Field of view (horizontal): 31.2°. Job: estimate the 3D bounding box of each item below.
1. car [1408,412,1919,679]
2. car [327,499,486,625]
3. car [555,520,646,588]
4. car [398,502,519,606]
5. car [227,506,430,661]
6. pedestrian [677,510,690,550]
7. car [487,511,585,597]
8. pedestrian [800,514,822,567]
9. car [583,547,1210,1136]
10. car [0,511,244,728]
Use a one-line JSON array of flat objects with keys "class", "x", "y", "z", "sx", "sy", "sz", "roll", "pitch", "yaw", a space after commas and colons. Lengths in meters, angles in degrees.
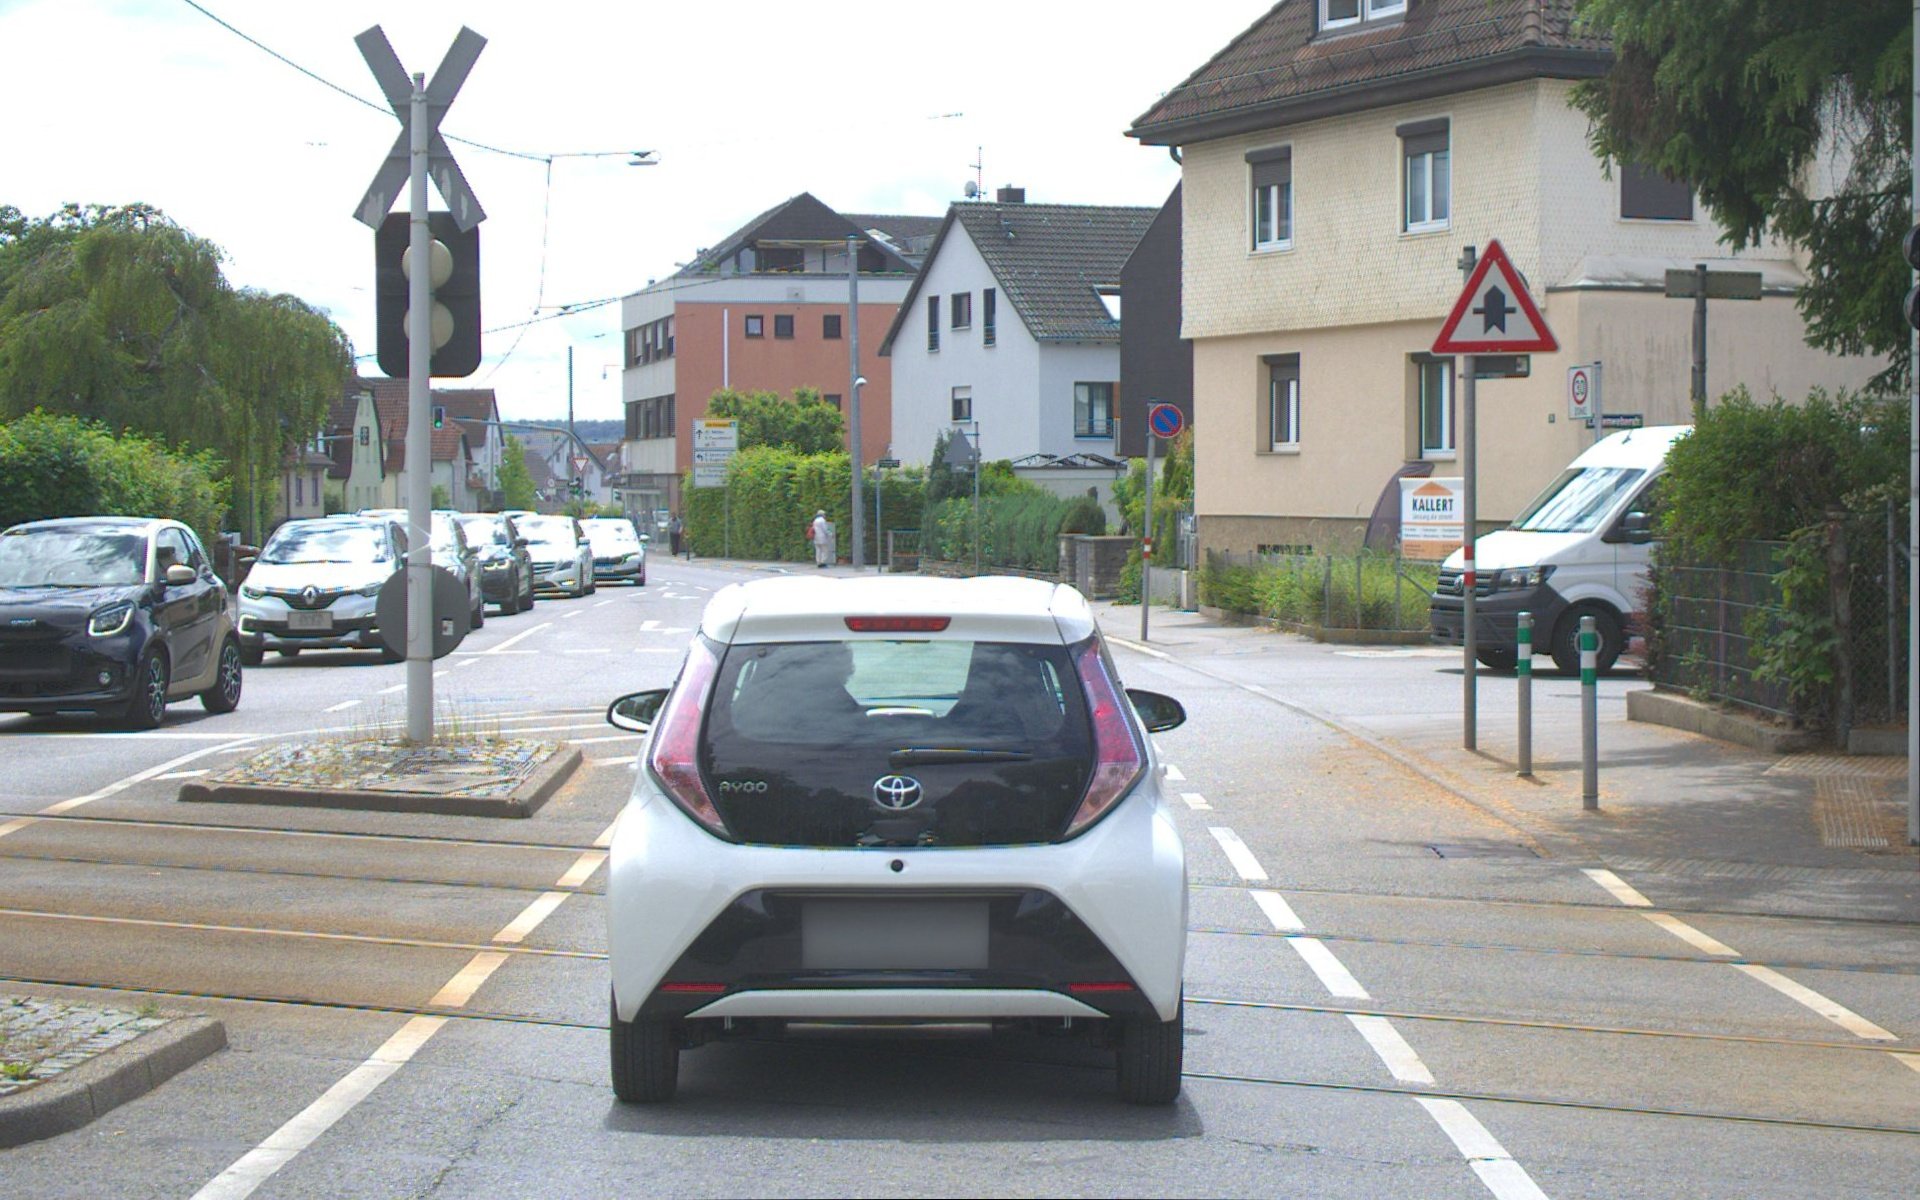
[{"class": "car", "x": 7.730, "y": -0.582, "z": 34.888, "sx": 5.994, "sy": 2.572, "sz": 2.001, "roll": 0, "pitch": 2, "yaw": -16}, {"class": "car", "x": -7.389, "y": -0.530, "z": 46.198, "sx": 1.774, "sy": 1.598, "sz": 4.039, "roll": 0, "pitch": 1, "yaw": -4}, {"class": "car", "x": -7.864, "y": -1.014, "z": 74.982, "sx": 1.774, "sy": 1.425, "sz": 4.523, "roll": 0, "pitch": 1, "yaw": -8}, {"class": "car", "x": -8.049, "y": -0.762, "z": 55.460, "sx": 1.774, "sy": 1.598, "sz": 4.170, "roll": 0, "pitch": 1, "yaw": -6}, {"class": "car", "x": -6.861, "y": -0.210, "z": 37.700, "sx": 1.774, "sy": 1.598, "sz": 4.039, "roll": 0, "pitch": 1, "yaw": -4}, {"class": "pedestrian", "x": -10.014, "y": -2.529, "z": 124.394, "sx": 0.413, "sy": 1.433, "sz": 0.438, "roll": 1, "pitch": 2, "yaw": -10}, {"class": "car", "x": -8.031, "y": -0.894, "z": 65.233, "sx": 1.774, "sy": 1.556, "sz": 4.170, "roll": 0, "pitch": 1, "yaw": -7}, {"class": "pedestrian", "x": -4.120, "y": -1.651, "z": 95.262, "sx": 0.414, "sy": 1.433, "sz": 0.436, "roll": 2, "pitch": 2, "yaw": 44}, {"class": "car", "x": -0.176, "y": 0.605, "z": 11.028, "sx": 1.621, "sy": 1.481, "sz": 4.000, "roll": 1, "pitch": 1, "yaw": 0}, {"class": "car", "x": -6.479, "y": 0.106, "z": 25.664, "sx": 1.575, "sy": 1.505, "sz": 2.788, "roll": 0, "pitch": 2, "yaw": 2}]
